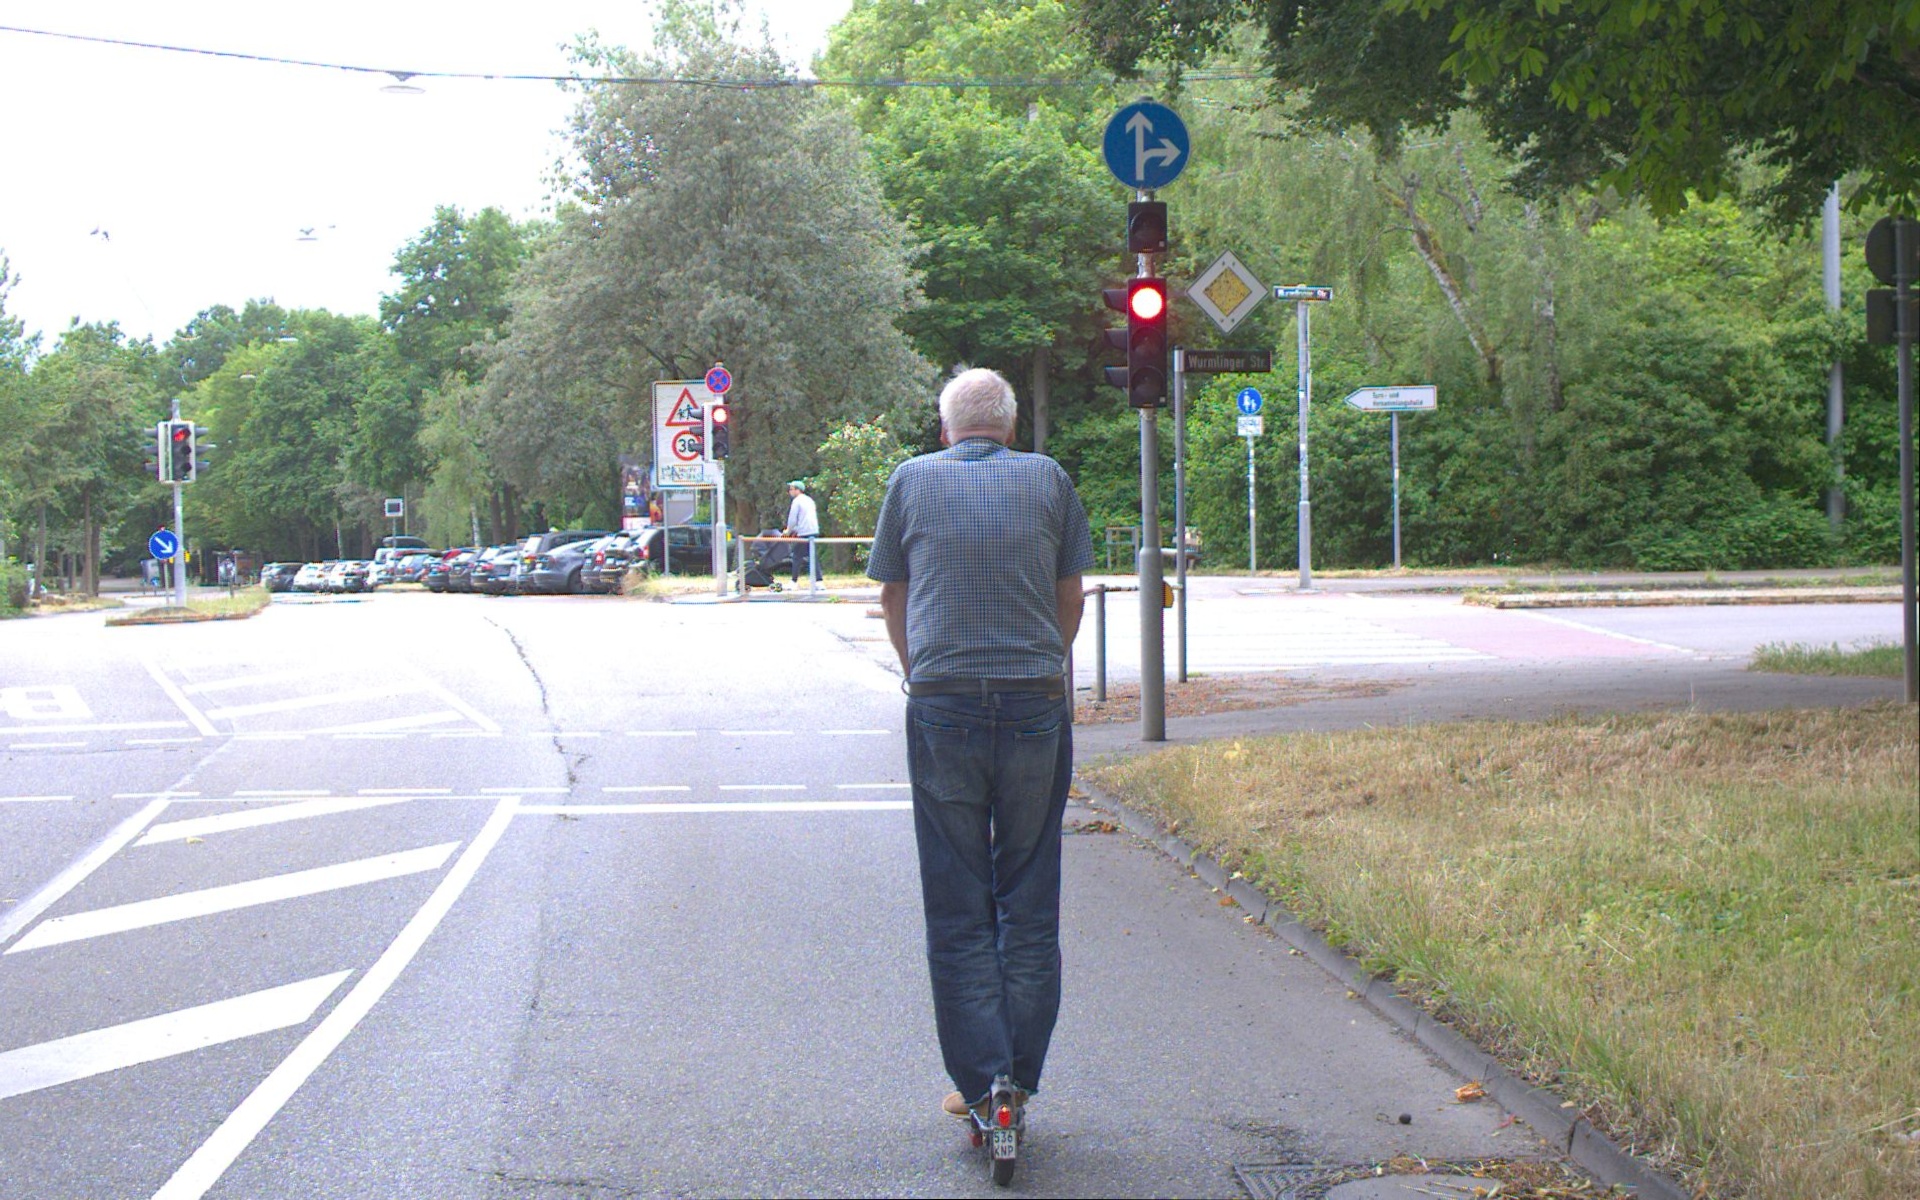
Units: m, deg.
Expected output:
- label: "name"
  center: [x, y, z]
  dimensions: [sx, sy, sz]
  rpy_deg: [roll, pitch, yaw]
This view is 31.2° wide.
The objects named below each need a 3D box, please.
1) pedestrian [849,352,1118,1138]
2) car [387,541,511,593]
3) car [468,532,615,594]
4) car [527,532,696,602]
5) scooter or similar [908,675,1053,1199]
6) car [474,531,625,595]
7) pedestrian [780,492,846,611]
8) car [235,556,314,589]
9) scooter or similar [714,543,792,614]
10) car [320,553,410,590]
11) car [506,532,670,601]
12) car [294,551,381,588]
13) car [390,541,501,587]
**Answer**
- label: "pedestrian"
  center: [0.053, 0.334, 8.173]
  dimensions: [0.572, 1.807, 0.420]
  rpy_deg: [-2, 1, 0]
- label: "car"
  center: [-17.722, -1.151, 119.191]
  dimensions: [3.841, 1.605, 1.728]
  rpy_deg: [-3, 2, -24]
- label: "car"
  center: [-12.110, -1.076, 99.487]
  dimensions: [3.841, 1.605, 1.728]
  rpy_deg: [-3, 2, -24]
- label: "car"
  center: [-8.847, -0.846, 87.278]
  dimensions: [3.841, 1.605, 1.728]
  rpy_deg: [-3, 2, -26]
- label: "scooter or similar"
  center: [0.058, 0.791, 7.956]
  dimensions: [0.282, 1.174, 1.177]
  rpy_deg: [-2, 1, 1]
- label: "car"
  center: [-11.597, -1.045, 97.089]
  dimensions: [3.841, 1.605, 1.728]
  rpy_deg: [-3, 2, -24]
- label: "pedestrian"
  center: [-2.328, -0.767, 54.492]
  dimensions: [0.884, 1.856, 0.574]
  rpy_deg: [-1, 1, 10]
- label: "car"
  center: [-36.940, -1.480, 185.213]
  dimensions: [3.841, 1.605, 1.728]
  rpy_deg: [-3, 2, -24]
- label: "scooter or similar"
  center: [-3.284, -0.342, 54.618]
  dimensions: [1.108, 1.077, 0.577]
  rpy_deg: [-1, 1, 10]
- label: "car"
  center: [-28.401, -1.376, 164.036]
  dimensions: [3.841, 1.605, 1.728]
  rpy_deg: [-3, 2, -24]
- label: "car"
  center: [-9.726, -0.879, 89.794]
  dimensions: [3.841, 1.605, 1.728]
  rpy_deg: [-3, 2, -24]
- label: "car"
  center: [-30.560, -1.493, 168.676]
  dimensions: [3.841, 1.605, 1.728]
  rpy_deg: [-3, 2, -24]
- label: "car"
  center: [-19.762, -1.392, 132.102]
  dimensions: [3.841, 1.605, 1.728]
  rpy_deg: [-3, 2, -24]
